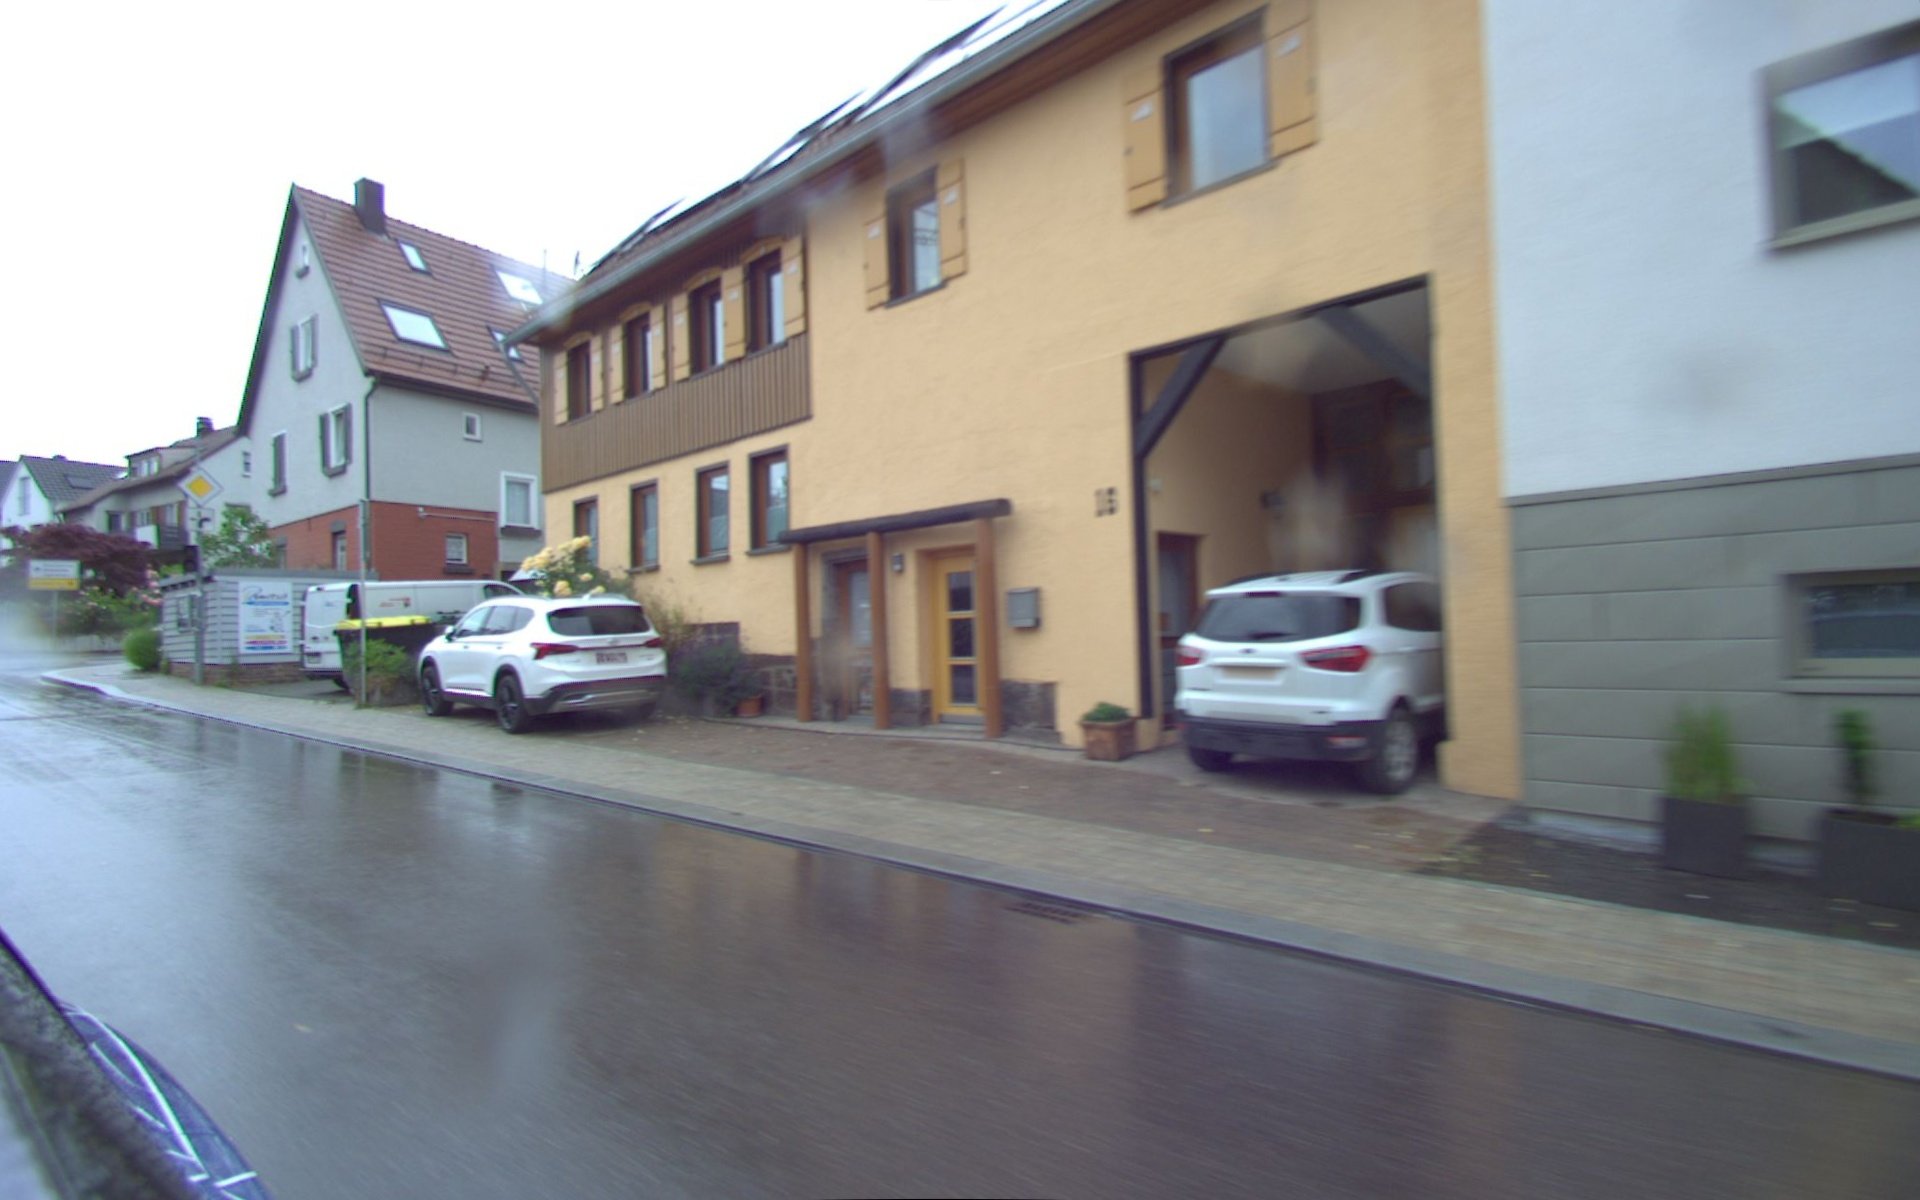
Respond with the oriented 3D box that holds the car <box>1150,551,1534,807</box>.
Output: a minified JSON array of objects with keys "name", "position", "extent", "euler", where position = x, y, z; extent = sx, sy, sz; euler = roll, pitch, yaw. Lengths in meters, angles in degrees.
[{"name":"car","position":[3.543,0.481,8.938],"extent":[1.877,1.682,3.946],"euler":[-2,2,41]}]

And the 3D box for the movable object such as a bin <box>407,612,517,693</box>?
[{"name":"movable object such as a bin","position":[-9.040,0.925,18.392],"extent":[0.995,1.378,1.492],"euler":[-1,0,37]}]

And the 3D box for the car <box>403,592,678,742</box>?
[{"name":"car","position":[-5.870,0.824,13.850],"extent":[4.618,1.719,1.793],"euler":[-2,-2,44]}]

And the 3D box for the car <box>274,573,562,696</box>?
[{"name":"car","position":[-10.361,0.594,19.704],"extent":[1.993,1.993,4.476],"euler":[-3,1,31]}]

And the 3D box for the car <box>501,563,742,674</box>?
[{"name":"car","position":[-8.575,0.371,26.287],"extent":[2.065,2.547,5.793],"euler":[-1,1,36]}]

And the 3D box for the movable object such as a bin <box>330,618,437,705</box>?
[{"name":"movable object such as a bin","position":[-9.639,0.996,16.940],"extent":[0.995,1.378,1.274],"euler":[-1,-2,37]}]

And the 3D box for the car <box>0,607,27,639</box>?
[{"name":"car","position":[-52.968,1.247,54.286],"extent":[1.773,1.719,3.962],"euler":[-1,-1,28]}]

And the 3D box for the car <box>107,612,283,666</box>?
[{"name":"car","position":[-24.139,1.180,32.105],"extent":[1.584,1.419,4.170],"euler":[0,2,28]}]
